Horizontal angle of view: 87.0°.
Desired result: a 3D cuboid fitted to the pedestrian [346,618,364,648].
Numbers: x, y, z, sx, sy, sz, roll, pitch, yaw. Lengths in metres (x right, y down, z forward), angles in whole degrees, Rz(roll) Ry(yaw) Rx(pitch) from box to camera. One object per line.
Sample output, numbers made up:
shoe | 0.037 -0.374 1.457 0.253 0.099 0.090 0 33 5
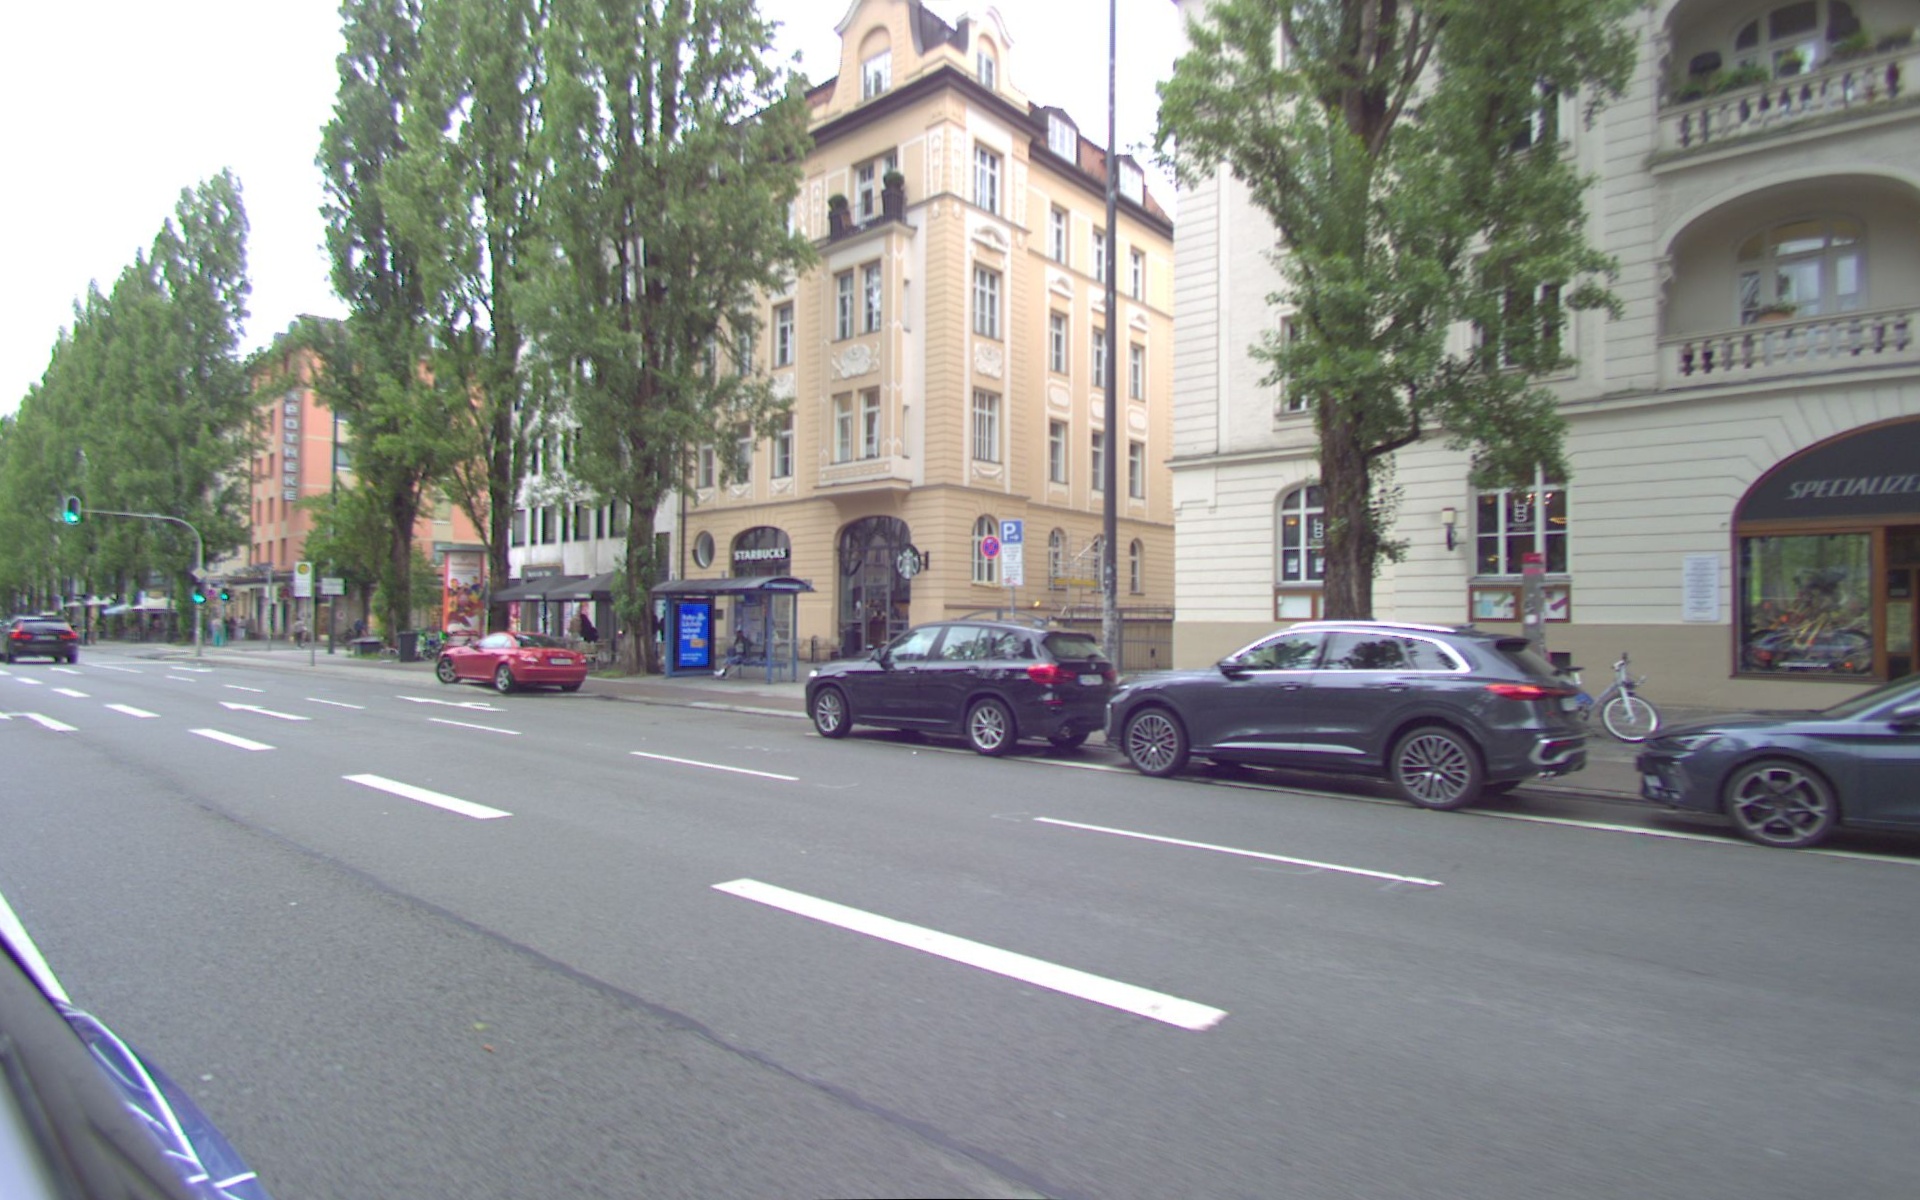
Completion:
pedestrian | -36.299 1.997 60.706 0.692 1.780 0.770 -1 -2 41

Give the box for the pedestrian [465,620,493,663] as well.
pedestrian | -20.180 1.728 42.445 0.941 1.753 0.719 -1 0 41

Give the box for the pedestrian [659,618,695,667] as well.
pedestrian | -9.444 1.399 33.778 0.989 1.579 0.742 -1 0 43

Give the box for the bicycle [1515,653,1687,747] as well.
bicycle | 8.656 1.313 13.767 0.530 1.121 2.002 1 -2 -24

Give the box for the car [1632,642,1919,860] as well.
car | 7.523 1.061 7.007 4.681 1.435 1.668 -1 -4 38

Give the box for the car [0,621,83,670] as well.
car | -32.599 1.594 35.651 4.334 1.636 1.915 -1 -4 41

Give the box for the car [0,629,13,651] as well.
car | -65.105 2.664 68.052 3.994 1.450 1.625 -1 -3 40

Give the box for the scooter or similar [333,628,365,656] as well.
scooter or similar | -30.281 2.082 50.176 1.341 1.349 0.439 1 -2 -29

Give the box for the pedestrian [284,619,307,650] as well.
pedestrian | -34.966 1.816 53.233 0.934 1.631 0.770 -2 -2 41

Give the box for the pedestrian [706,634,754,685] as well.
pedestrian | -5.970 1.540 26.300 0.757 1.266 0.951 -1 -1 42

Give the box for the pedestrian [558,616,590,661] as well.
pedestrian | -15.479 1.544 40.601 0.954 1.757 0.834 -1 0 42

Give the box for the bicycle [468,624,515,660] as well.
bicycle | -17.384 1.545 37.567 0.579 1.311 1.948 0 -2 9

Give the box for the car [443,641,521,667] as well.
car | -28.834 3.249 61.141 3.937 1.431 1.784 1 -2 -40

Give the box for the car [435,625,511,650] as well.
car | -30.266 2.296 62.918 3.937 1.431 1.784 -1 0 -41

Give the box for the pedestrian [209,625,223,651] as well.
pedestrian | -50.014 2.544 68.019 0.519 1.701 0.623 -1 0 42

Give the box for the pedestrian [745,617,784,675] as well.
pedestrian | -6.225 1.448 32.248 0.911 1.801 0.791 -2 0 41

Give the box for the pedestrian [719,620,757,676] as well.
pedestrian | -6.914 1.479 31.518 0.977 1.694 0.724 -2 -1 41

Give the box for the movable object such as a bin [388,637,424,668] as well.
movable object such as a bin | -19.553 1.854 35.704 0.847 1.049 0.722 -1 0 12

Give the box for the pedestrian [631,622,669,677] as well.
pedestrian | -10.144 1.595 33.134 0.895 1.757 0.821 1 -2 -44

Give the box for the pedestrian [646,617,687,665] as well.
pedestrian | -10.718 1.487 36.987 0.989 1.697 1.070 -1 0 42

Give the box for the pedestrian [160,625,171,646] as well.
pedestrian | -63.549 2.836 80.935 0.691 1.731 0.549 -2 -2 40

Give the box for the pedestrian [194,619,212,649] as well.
pedestrian | -45.222 2.028 60.469 0.778 1.784 0.716 -1 -2 42

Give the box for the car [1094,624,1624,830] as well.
car | 3.768 1.064 10.145 4.629 1.607 1.784 -1 -3 42

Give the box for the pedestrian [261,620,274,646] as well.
pedestrian | -46.351 2.220 67.739 0.514 1.704 0.580 -1 -2 41

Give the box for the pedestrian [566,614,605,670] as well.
pedestrian | -11.942 1.341 32.256 0.895 1.757 0.821 3 -4 -44

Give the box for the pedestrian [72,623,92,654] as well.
pedestrian | -52.222 2.297 60.213 0.725 1.809 0.995 0 0 -31

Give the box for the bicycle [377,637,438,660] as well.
bicycle | -21.649 1.887 39.675 0.827 0.514 1.939 22 9 21

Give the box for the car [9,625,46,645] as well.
car | -68.443 2.532 74.278 4.184 1.392 1.478 -1 -3 41

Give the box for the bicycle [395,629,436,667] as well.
bicycle | -20.022 1.750 37.219 0.501 1.299 1.955 -1 0 -2

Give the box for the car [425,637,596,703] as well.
car | -10.202 1.515 22.865 4.089 1.308 1.861 -1 -2 38

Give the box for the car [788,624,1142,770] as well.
car | -0.077 1.142 13.589 4.712 1.630 1.801 -1 -2 40

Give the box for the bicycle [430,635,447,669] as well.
bicycle | -18.488 1.826 35.892 0.499 1.096 1.815 0 0 -26
